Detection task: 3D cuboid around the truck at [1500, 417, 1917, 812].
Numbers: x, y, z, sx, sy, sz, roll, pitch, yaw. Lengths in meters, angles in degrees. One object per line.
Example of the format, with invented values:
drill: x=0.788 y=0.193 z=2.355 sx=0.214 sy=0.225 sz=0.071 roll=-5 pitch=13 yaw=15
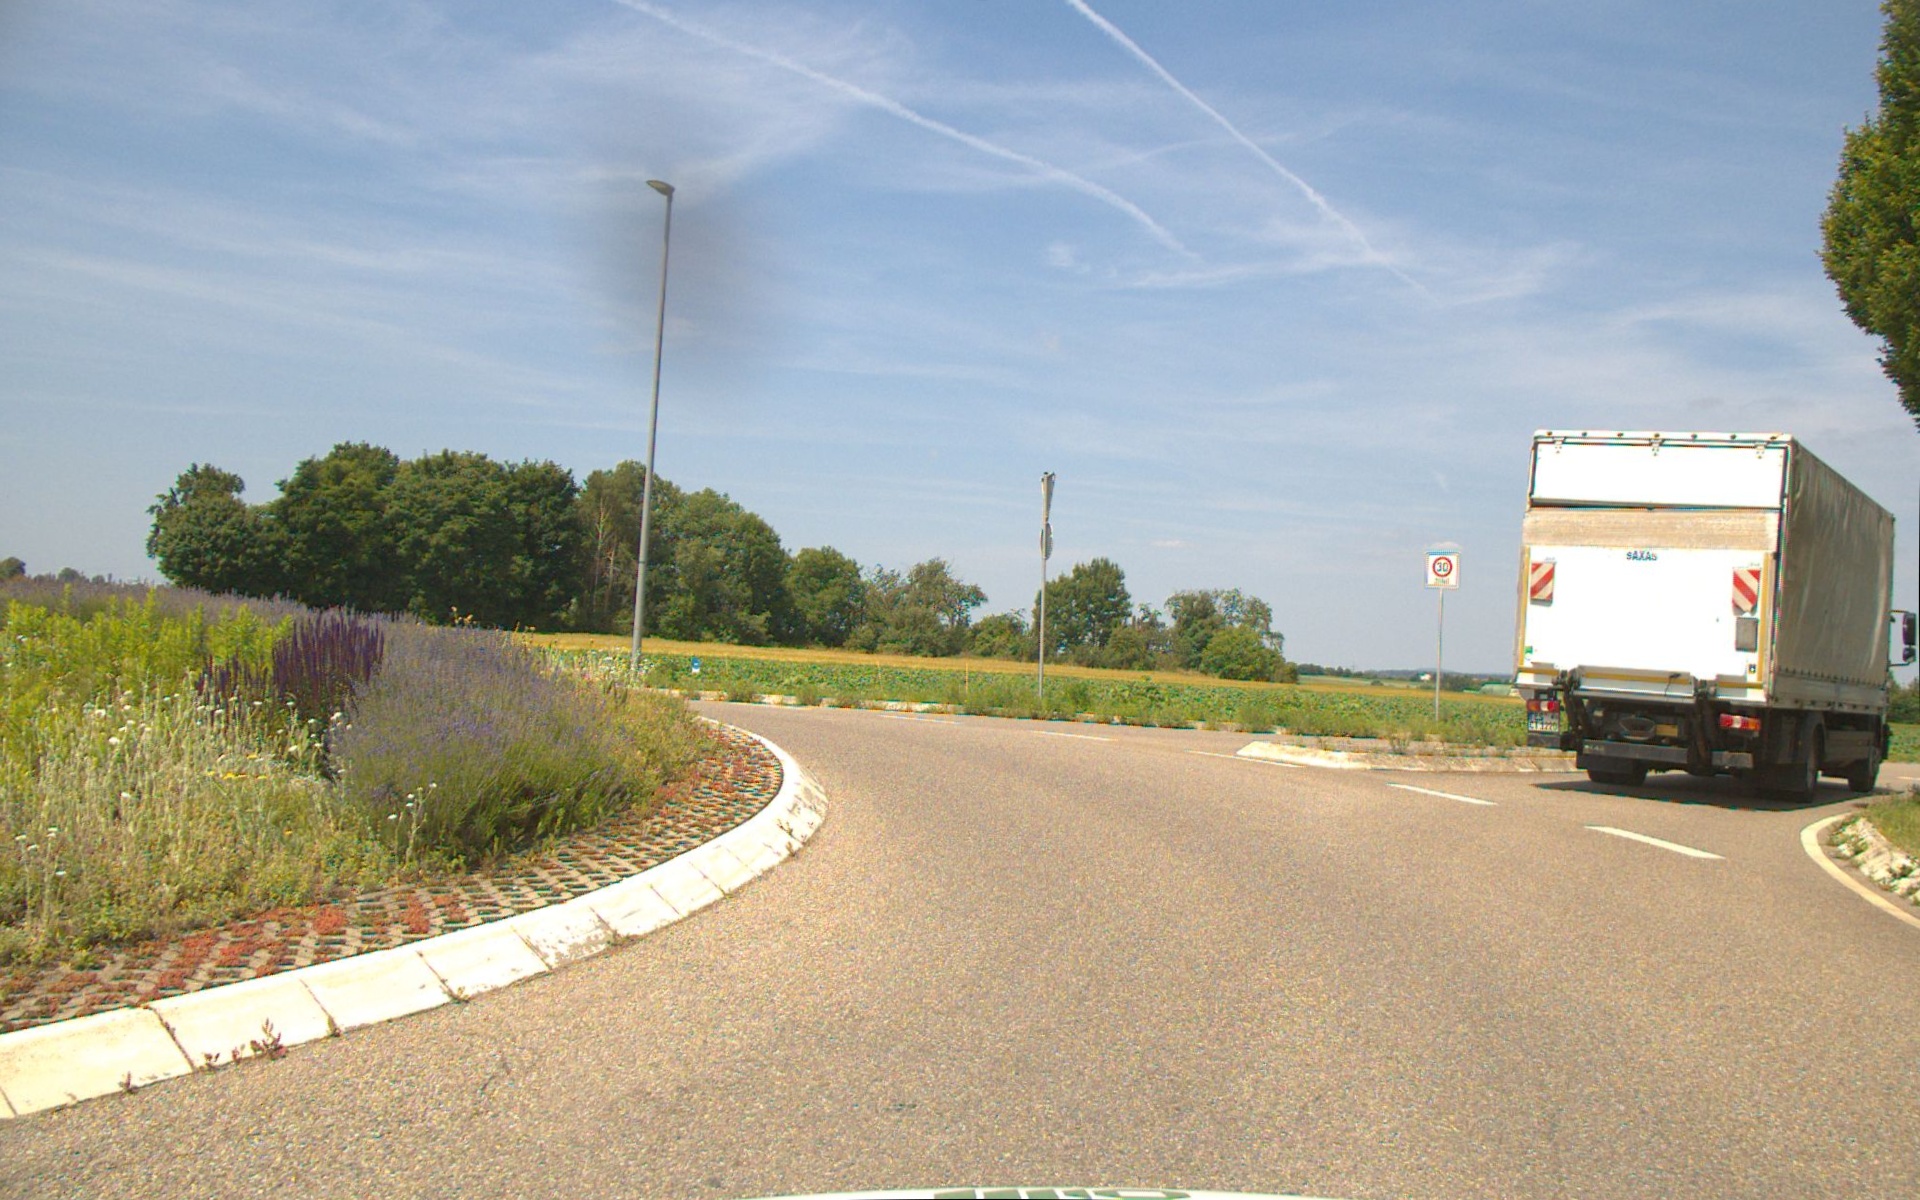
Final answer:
truck: x=9.543 y=0.349 z=20.232 sx=2.721 sy=3.735 sz=9.345 roll=3 pitch=-2 yaw=36
